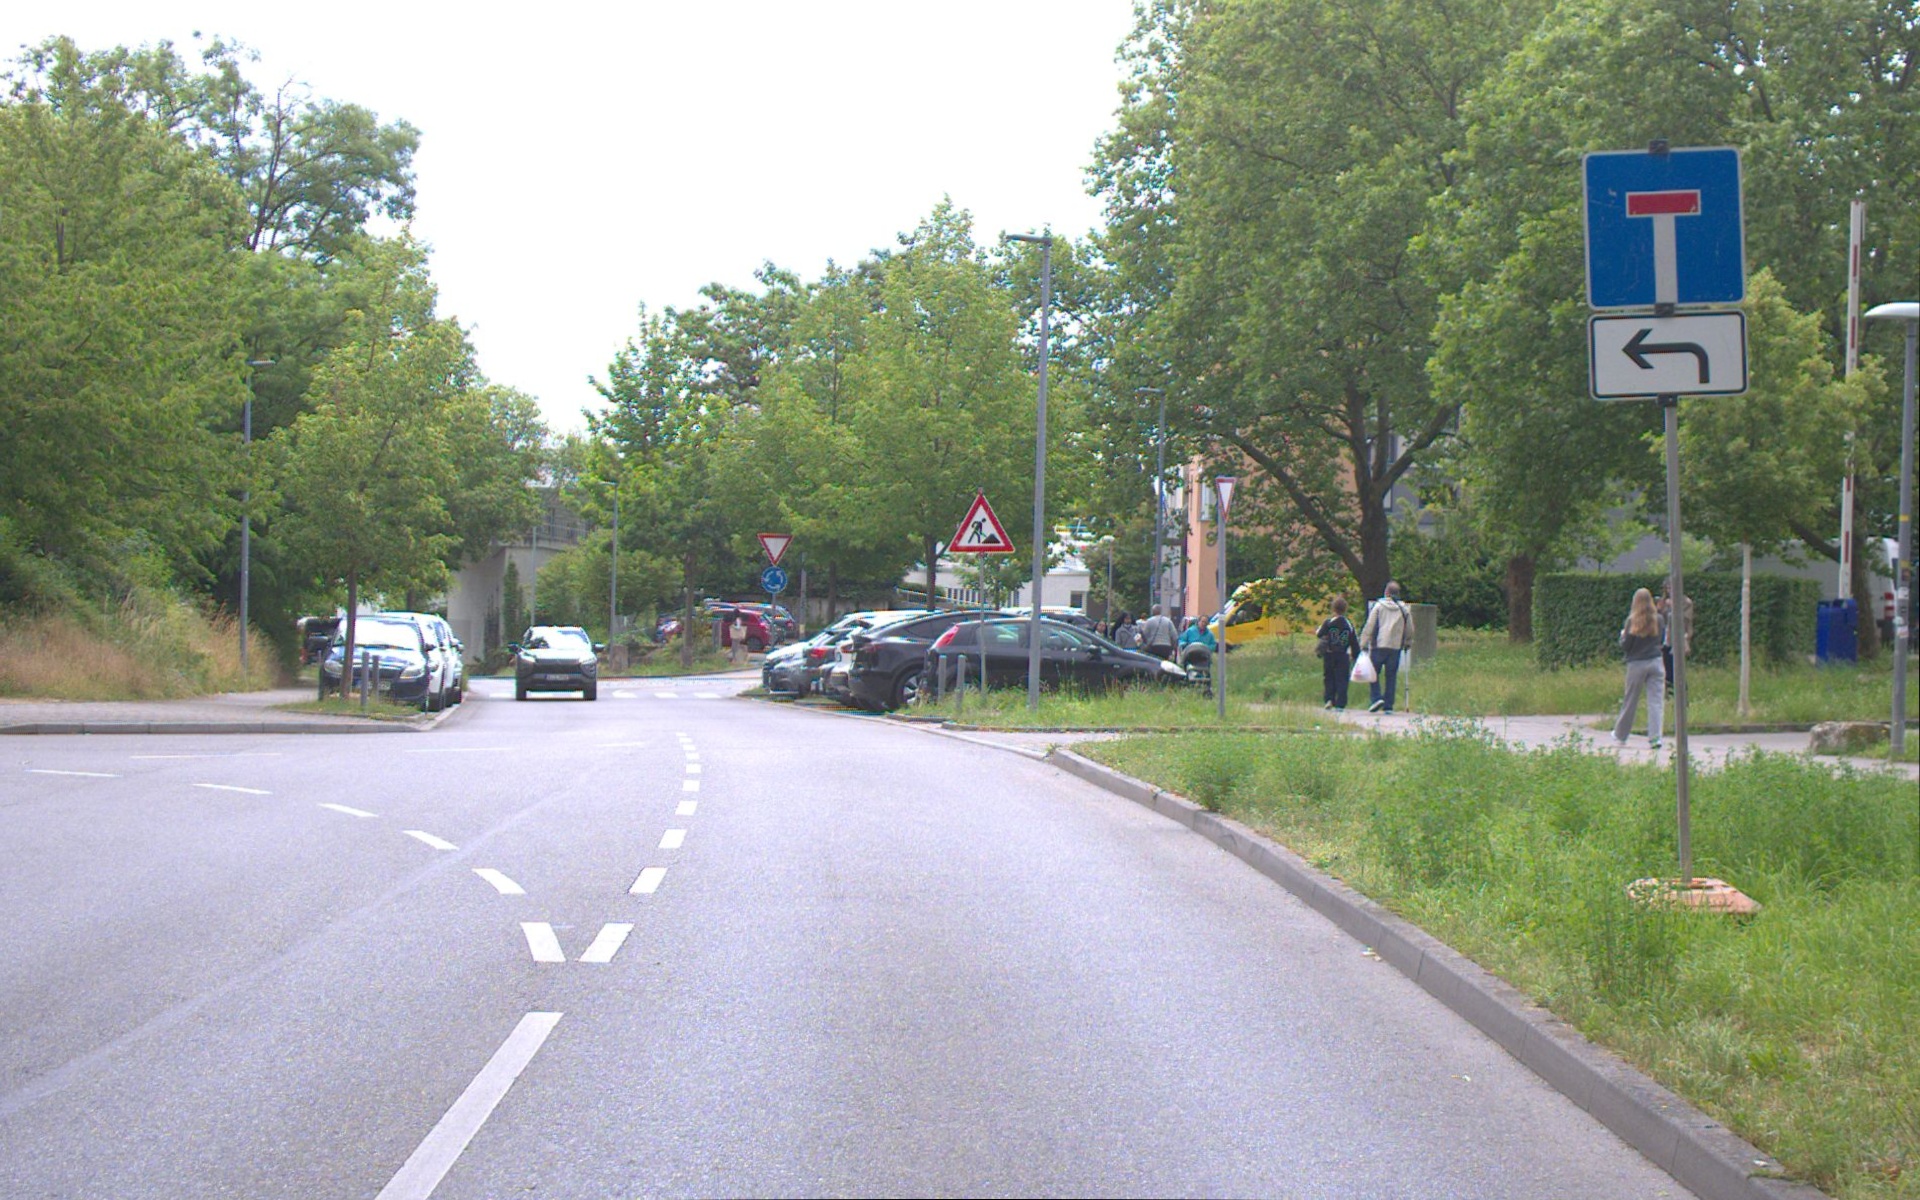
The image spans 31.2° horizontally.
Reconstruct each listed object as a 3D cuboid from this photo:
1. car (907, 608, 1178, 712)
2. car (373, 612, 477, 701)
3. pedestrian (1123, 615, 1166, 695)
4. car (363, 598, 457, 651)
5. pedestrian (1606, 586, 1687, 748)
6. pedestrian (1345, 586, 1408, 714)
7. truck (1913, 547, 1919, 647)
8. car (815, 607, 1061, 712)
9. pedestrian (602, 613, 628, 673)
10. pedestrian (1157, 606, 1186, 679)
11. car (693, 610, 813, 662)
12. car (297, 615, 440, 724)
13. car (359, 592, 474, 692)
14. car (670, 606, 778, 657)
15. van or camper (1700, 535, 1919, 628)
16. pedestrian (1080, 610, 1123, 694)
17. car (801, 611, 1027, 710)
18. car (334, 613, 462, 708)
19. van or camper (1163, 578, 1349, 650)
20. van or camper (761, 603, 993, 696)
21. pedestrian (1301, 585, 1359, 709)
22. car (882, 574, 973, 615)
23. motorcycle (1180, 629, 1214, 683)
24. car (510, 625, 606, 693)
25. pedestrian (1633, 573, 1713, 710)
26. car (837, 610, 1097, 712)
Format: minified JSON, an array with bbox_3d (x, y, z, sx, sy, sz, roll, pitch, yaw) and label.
[{"bbox_3d":[1.188,0.898,50.803,3.921,1.463,1.771,1,-2,-1],"label":"car"},{"bbox_3d":[-10.742,1.109,69.228,1.737,1.705,4.082,1,0,-4],"label":"car"},{"bbox_3d":[3.361,1.002,62.557,0.690,1.419,0.753,2,0,-1],"label":"pedestrian"},{"bbox_3d":[-14.551,0.646,90.950,1.200,1.332,2.605,2,0,-42],"label":"car"},{"bbox_3d":[7.011,0.674,35.091,0.775,1.591,0.823,1,2,12],"label":"pedestrian"},{"bbox_3d":[5.745,0.682,47.423,0.801,1.717,0.823,2,2,7],"label":"pedestrian"},{"bbox_3d":[23.959,-0.087,81.597,2.328,2.288,5.890,2,2,17],"label":"truck"},{"bbox_3d":[-0.363,0.975,55.746,3.921,1.625,1.771,1,-2,-1],"label":"car"},{"bbox_3d":[-10.853,1.342,108.033,0.720,1.858,0.651,0,2,-12],"label":"pedestrian"},{"bbox_3d":[3.431,0.685,55.787,0.396,1.148,0.485,2,2,8],"label":"pedestrian"},{"bbox_3d":[-6.763,1.179,112.098,3.539,1.558,1.622,2,0,-21],"label":"car"},{"bbox_3d":[-8.961,1.030,52.349,1.765,1.495,3.935,1,1,-4],"label":"car"},{"bbox_3d":[-9.970,0.747,63.255,1.765,1.747,3.935,1,0,-4],"label":"car"},{"bbox_3d":[-8.148,1.074,118.702,3.539,1.648,1.622,2,0,-9],"label":"car"},{"bbox_3d":[19.052,-0.438,76.545,4.680,1.908,1.769,2,2,28],"label":"van or camper"},{"bbox_3d":[2.567,0.940,62.525,0.690,1.499,0.753,2,0,-1],"label":"pedestrian"},{"bbox_3d":[-0.819,1.058,60.811,3.921,1.624,1.772,1,2,-1],"label":"car"},{"bbox_3d":[-9.372,0.984,57.526,1.765,1.495,3.935,1,0,-4],"label":"car"},{"bbox_3d":[8.894,0.420,103.545,5.291,2.034,2.061,1,2,-5],"label":"van or camper"},{"bbox_3d":[-1.770,1.033,72.368,4.671,1.863,1.772,0,2,-9],"label":"van or camper"},{"bbox_3d":[5.311,0.667,49.283,0.774,1.717,0.823,2,2,7],"label":"pedestrian"},{"bbox_3d":[-1.389,-0.248,148.523,3.539,1.648,1.622,2,0,-21],"label":"car"},{"bbox_3d":[3.832,0.898,55.450,0.453,0.791,1.263,1,2,8],"label":"motorcycle"},{"bbox_3d":[-9.027,1.309,77.500,1.974,1.459,3.935,1,0,-4],"label":"car"},{"bbox_3d":[9.077,0.514,43.758,0.775,1.689,0.822,2,2,27],"label":"pedestrian"},{"bbox_3d":[0.096,0.949,53.024,3.921,1.495,1.771,1,-2,-1],"label":"car"}]
